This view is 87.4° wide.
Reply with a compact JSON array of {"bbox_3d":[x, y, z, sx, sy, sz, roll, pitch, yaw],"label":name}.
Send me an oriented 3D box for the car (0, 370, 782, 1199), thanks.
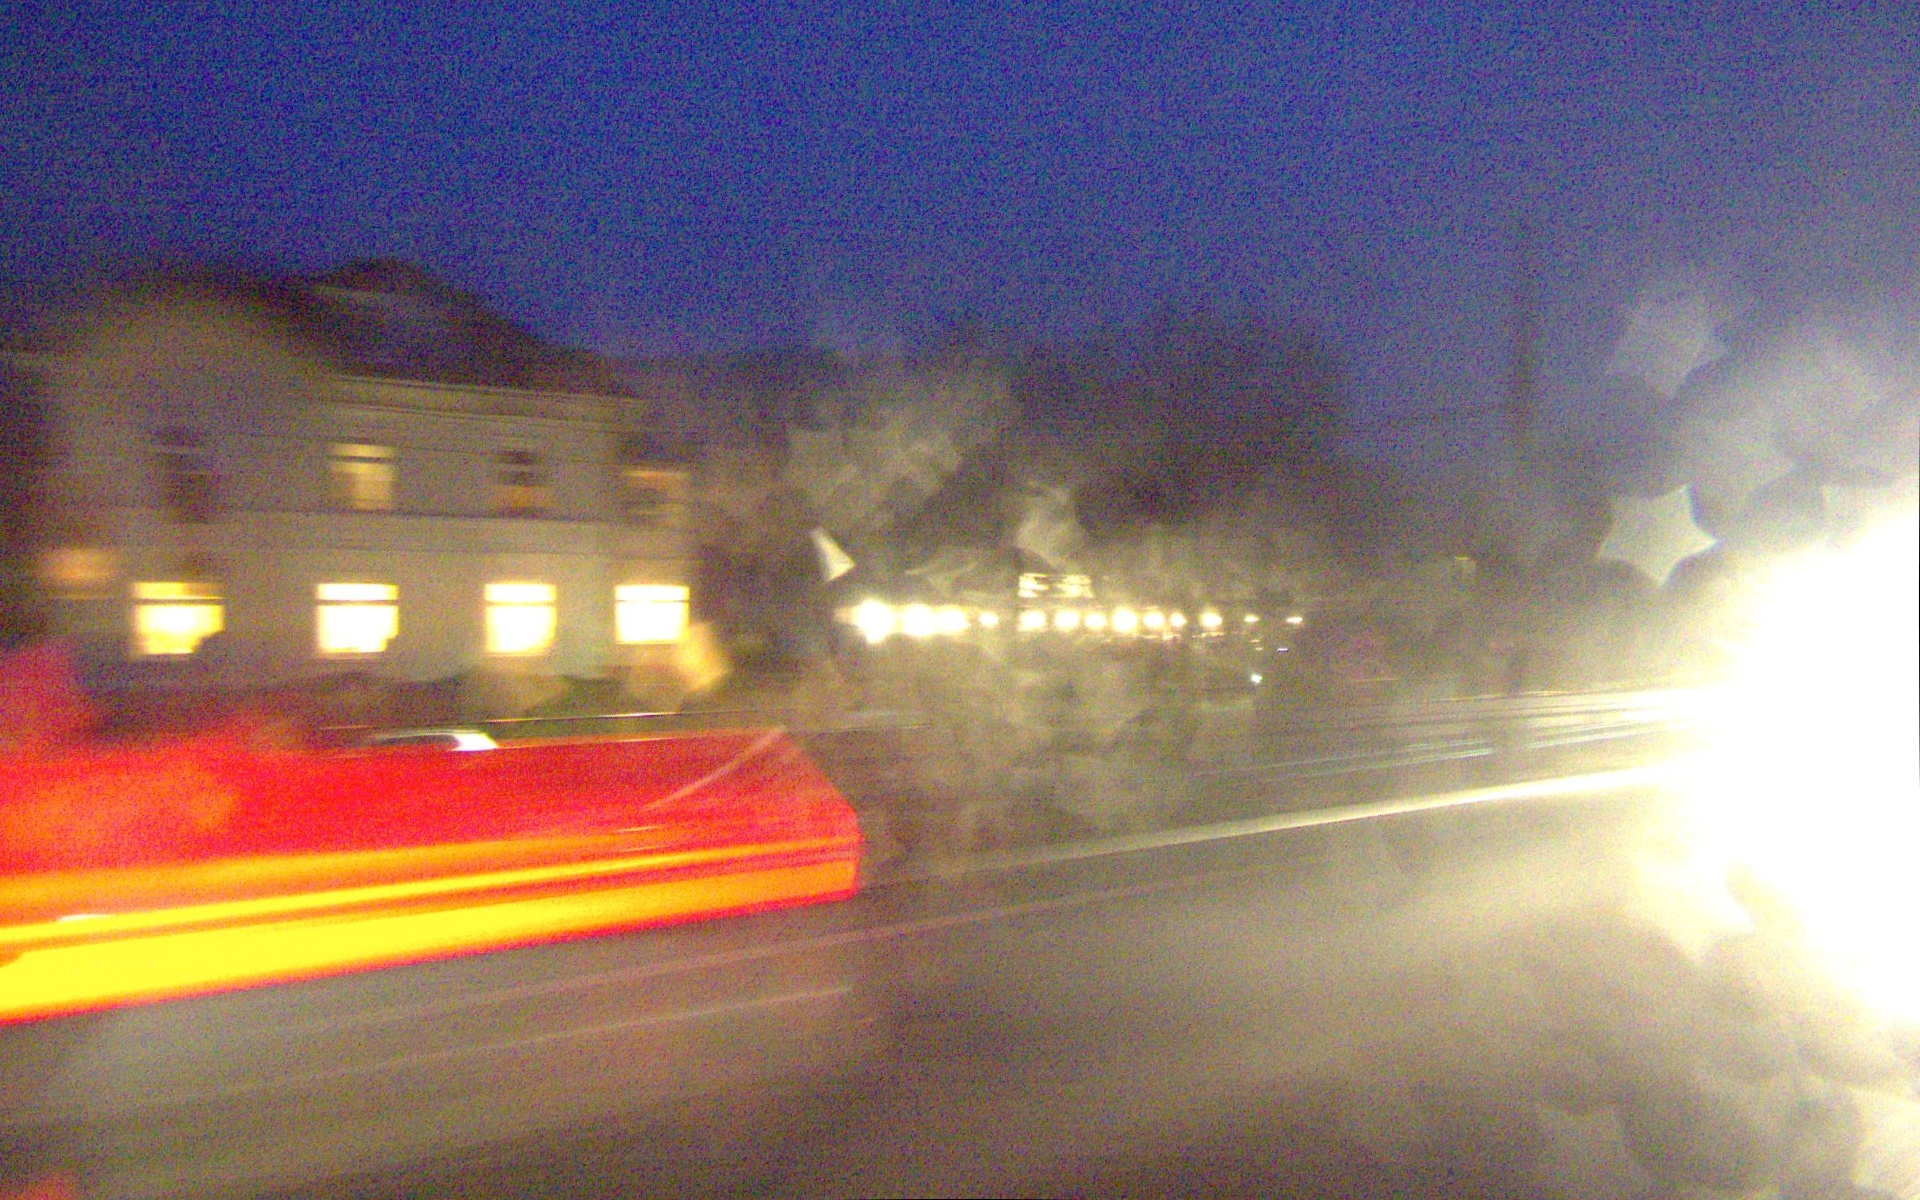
[{"bbox_3d":[-2.834,0.549,1.810,4.542,1.830,1.984,2,-1,-30],"label":"car"}]
